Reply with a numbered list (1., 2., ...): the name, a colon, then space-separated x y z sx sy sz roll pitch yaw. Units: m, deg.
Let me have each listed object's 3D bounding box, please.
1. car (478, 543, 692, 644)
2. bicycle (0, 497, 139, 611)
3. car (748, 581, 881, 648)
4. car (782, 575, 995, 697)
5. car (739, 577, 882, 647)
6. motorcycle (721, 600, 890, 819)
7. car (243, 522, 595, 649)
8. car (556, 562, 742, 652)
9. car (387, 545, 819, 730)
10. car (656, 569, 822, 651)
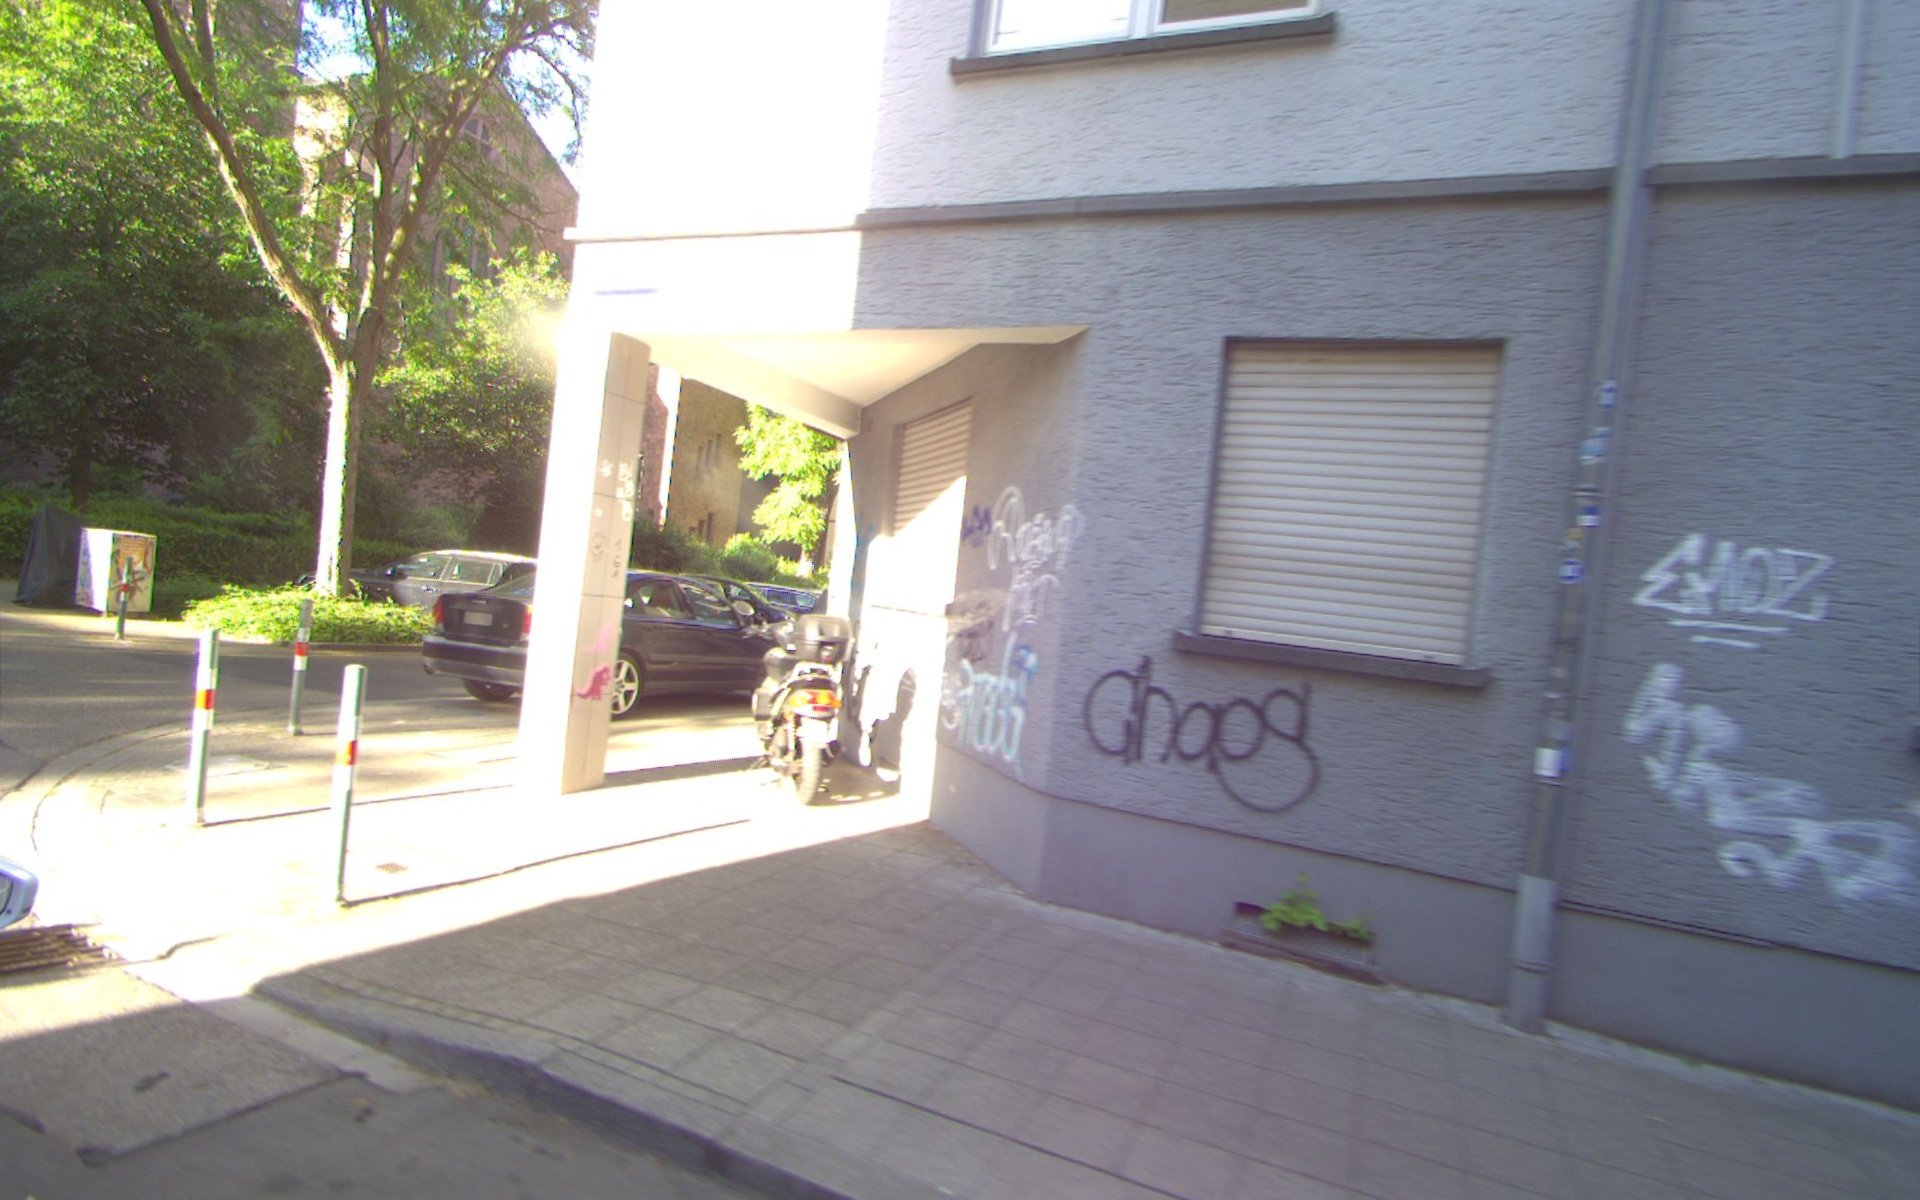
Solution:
1. car: -7.817 -0.128 21.157 3.698 1.638 1.722 7 0 5
2. bicycle: -12.349 -0.638 14.009 0.767 1.388 2.112 6 1 -23
3. car: -4.539 0.438 31.650 3.698 1.638 1.722 7 0 5
4. car: -1.017 0.601 16.488 1.836 1.638 3.999 4 -1 22
5. car: -4.227 0.344 28.815 3.700 1.539 1.721 7 0 0
6. motorcycle: -1.146 0.660 6.950 0.732 1.243 2.149 4 0 -18
7. car: -9.297 -0.226 17.705 5.015 1.571 1.800 6 0 -10
8. car: -7.289 0.157 23.776 3.698 1.638 1.722 7 0 5
9. car: -3.465 0.398 10.754 1.816 1.405 4.360 6 0 22
10. car: -5.667 0.267 26.056 3.698 1.638 1.722 7 0 5
